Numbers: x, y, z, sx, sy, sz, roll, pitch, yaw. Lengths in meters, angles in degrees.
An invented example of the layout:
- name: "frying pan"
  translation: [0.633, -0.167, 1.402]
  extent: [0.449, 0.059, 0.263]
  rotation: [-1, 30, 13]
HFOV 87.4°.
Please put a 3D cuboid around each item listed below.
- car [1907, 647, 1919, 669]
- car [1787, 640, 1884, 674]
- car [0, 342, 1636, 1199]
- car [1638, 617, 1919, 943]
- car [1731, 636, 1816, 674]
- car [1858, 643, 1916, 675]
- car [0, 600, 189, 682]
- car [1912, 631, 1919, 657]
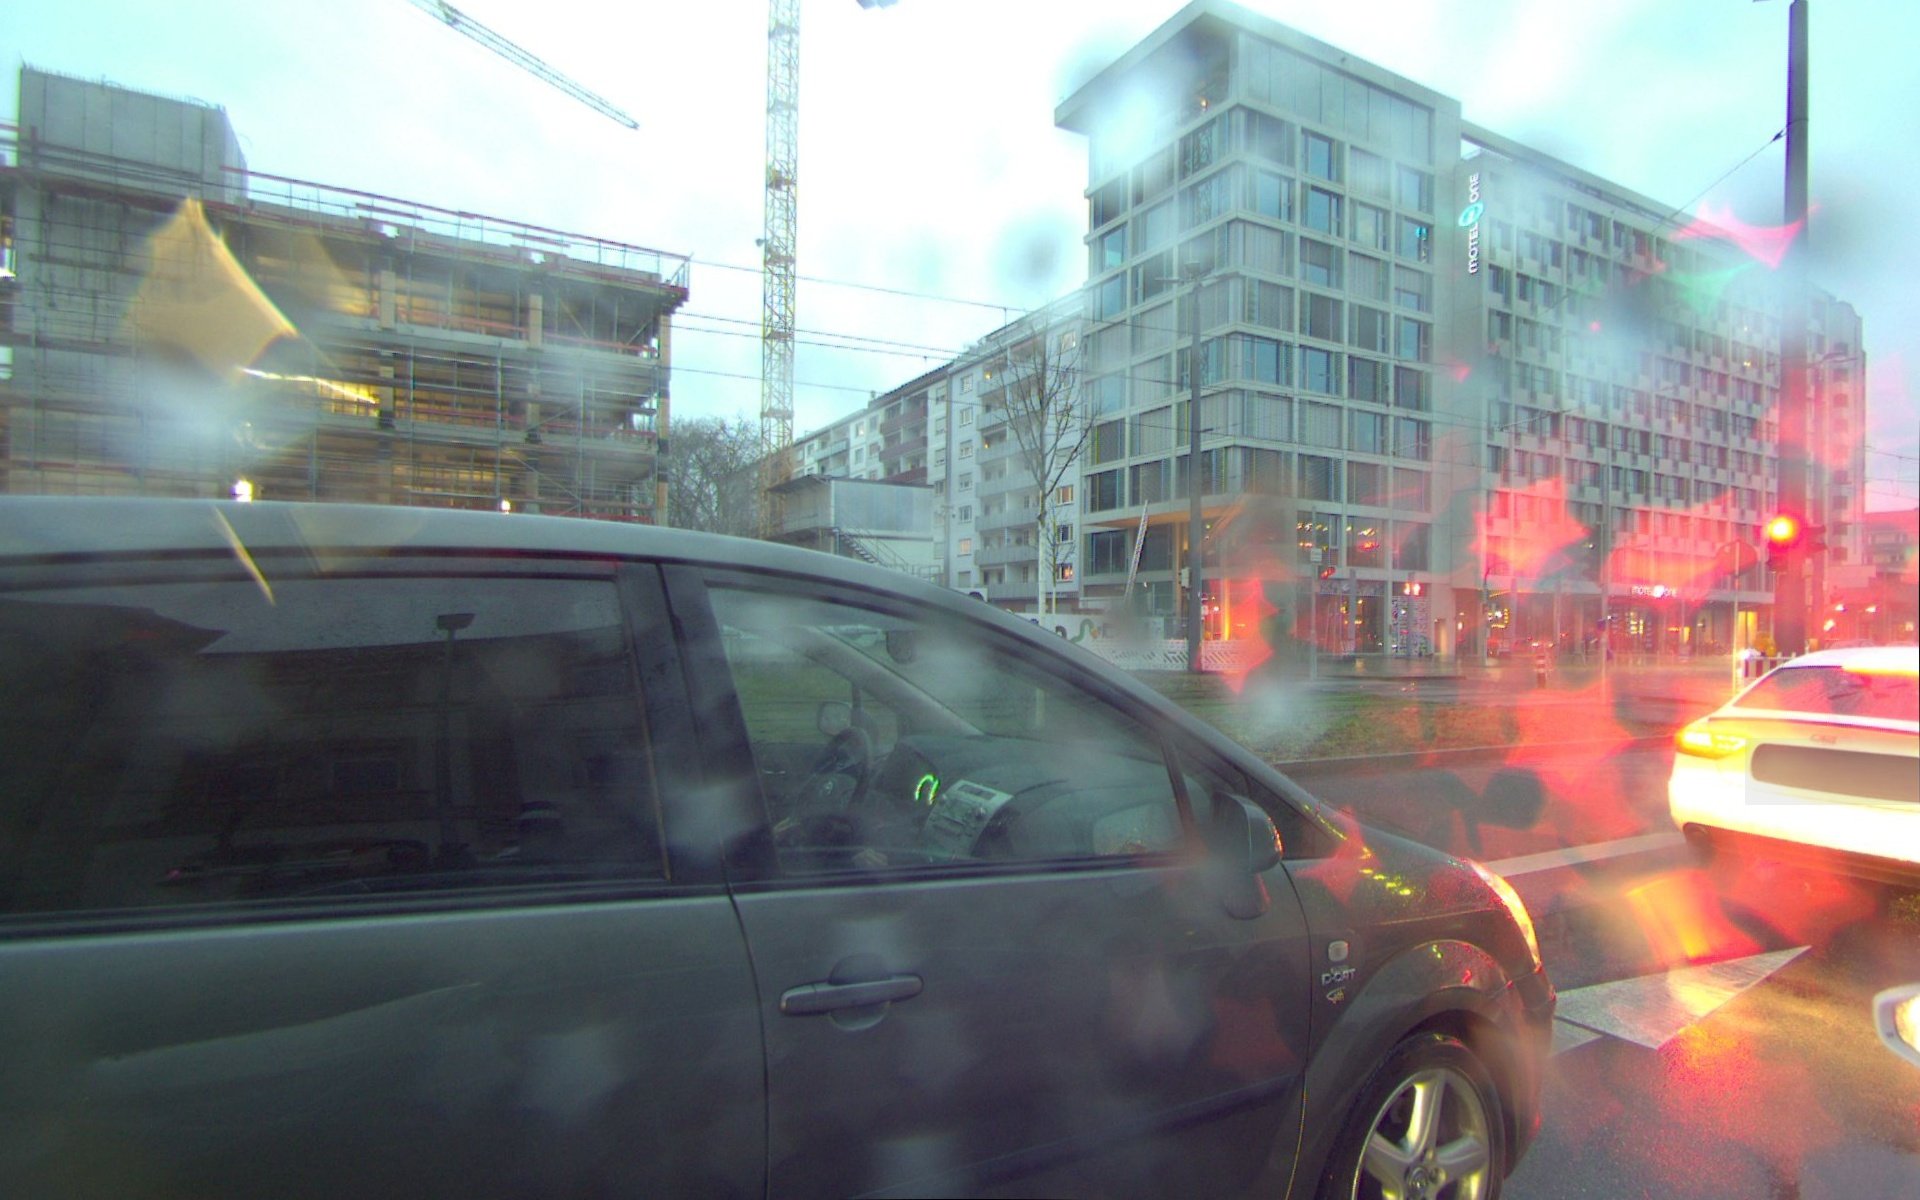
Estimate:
- name: "car"
  translation: [68.491, 4.078, 70.323]
  extent: [5.039, 1.481, 1.982]
  rotation: [2, 0, -32]
- name: "car"
  translation: [41.972, 2.708, 48.117]
  extent: [5.035, 1.481, 1.984]
  rotation: [2, 0, -30]
- name: "car"
  translation: [-0.487, 0.602, 2.140]
  extent: [3.956, 1.615, 1.750]
  rotation: [2, 0, -32]
- name: "car"
  translation: [6.094, 0.910, 6.087]
  extent: [4.205, 1.489, 1.750]
  rotation: [2, 0, -32]
- name: "car"
  translation: [41.910, 2.821, 51.753]
  extent: [4.544, 1.813, 1.872]
  rotation: [2, 0, -30]
- name: "car"
  translation: [48.785, 3.076, 52.824]
  extent: [5.062, 1.481, 1.973]
  rotation: [2, 0, -45]
- name: "car"
  translation: [-20.184, 0.912, 22.716]
  extent: [4.033, 1.709, 1.945]
  rotation: [2, 0, -28]
- name: "car"
  translation: [56.906, 2.585, 57.832]
  extent: [5.042, 1.481, 1.981]
  rotation: [2, 0, -34]
